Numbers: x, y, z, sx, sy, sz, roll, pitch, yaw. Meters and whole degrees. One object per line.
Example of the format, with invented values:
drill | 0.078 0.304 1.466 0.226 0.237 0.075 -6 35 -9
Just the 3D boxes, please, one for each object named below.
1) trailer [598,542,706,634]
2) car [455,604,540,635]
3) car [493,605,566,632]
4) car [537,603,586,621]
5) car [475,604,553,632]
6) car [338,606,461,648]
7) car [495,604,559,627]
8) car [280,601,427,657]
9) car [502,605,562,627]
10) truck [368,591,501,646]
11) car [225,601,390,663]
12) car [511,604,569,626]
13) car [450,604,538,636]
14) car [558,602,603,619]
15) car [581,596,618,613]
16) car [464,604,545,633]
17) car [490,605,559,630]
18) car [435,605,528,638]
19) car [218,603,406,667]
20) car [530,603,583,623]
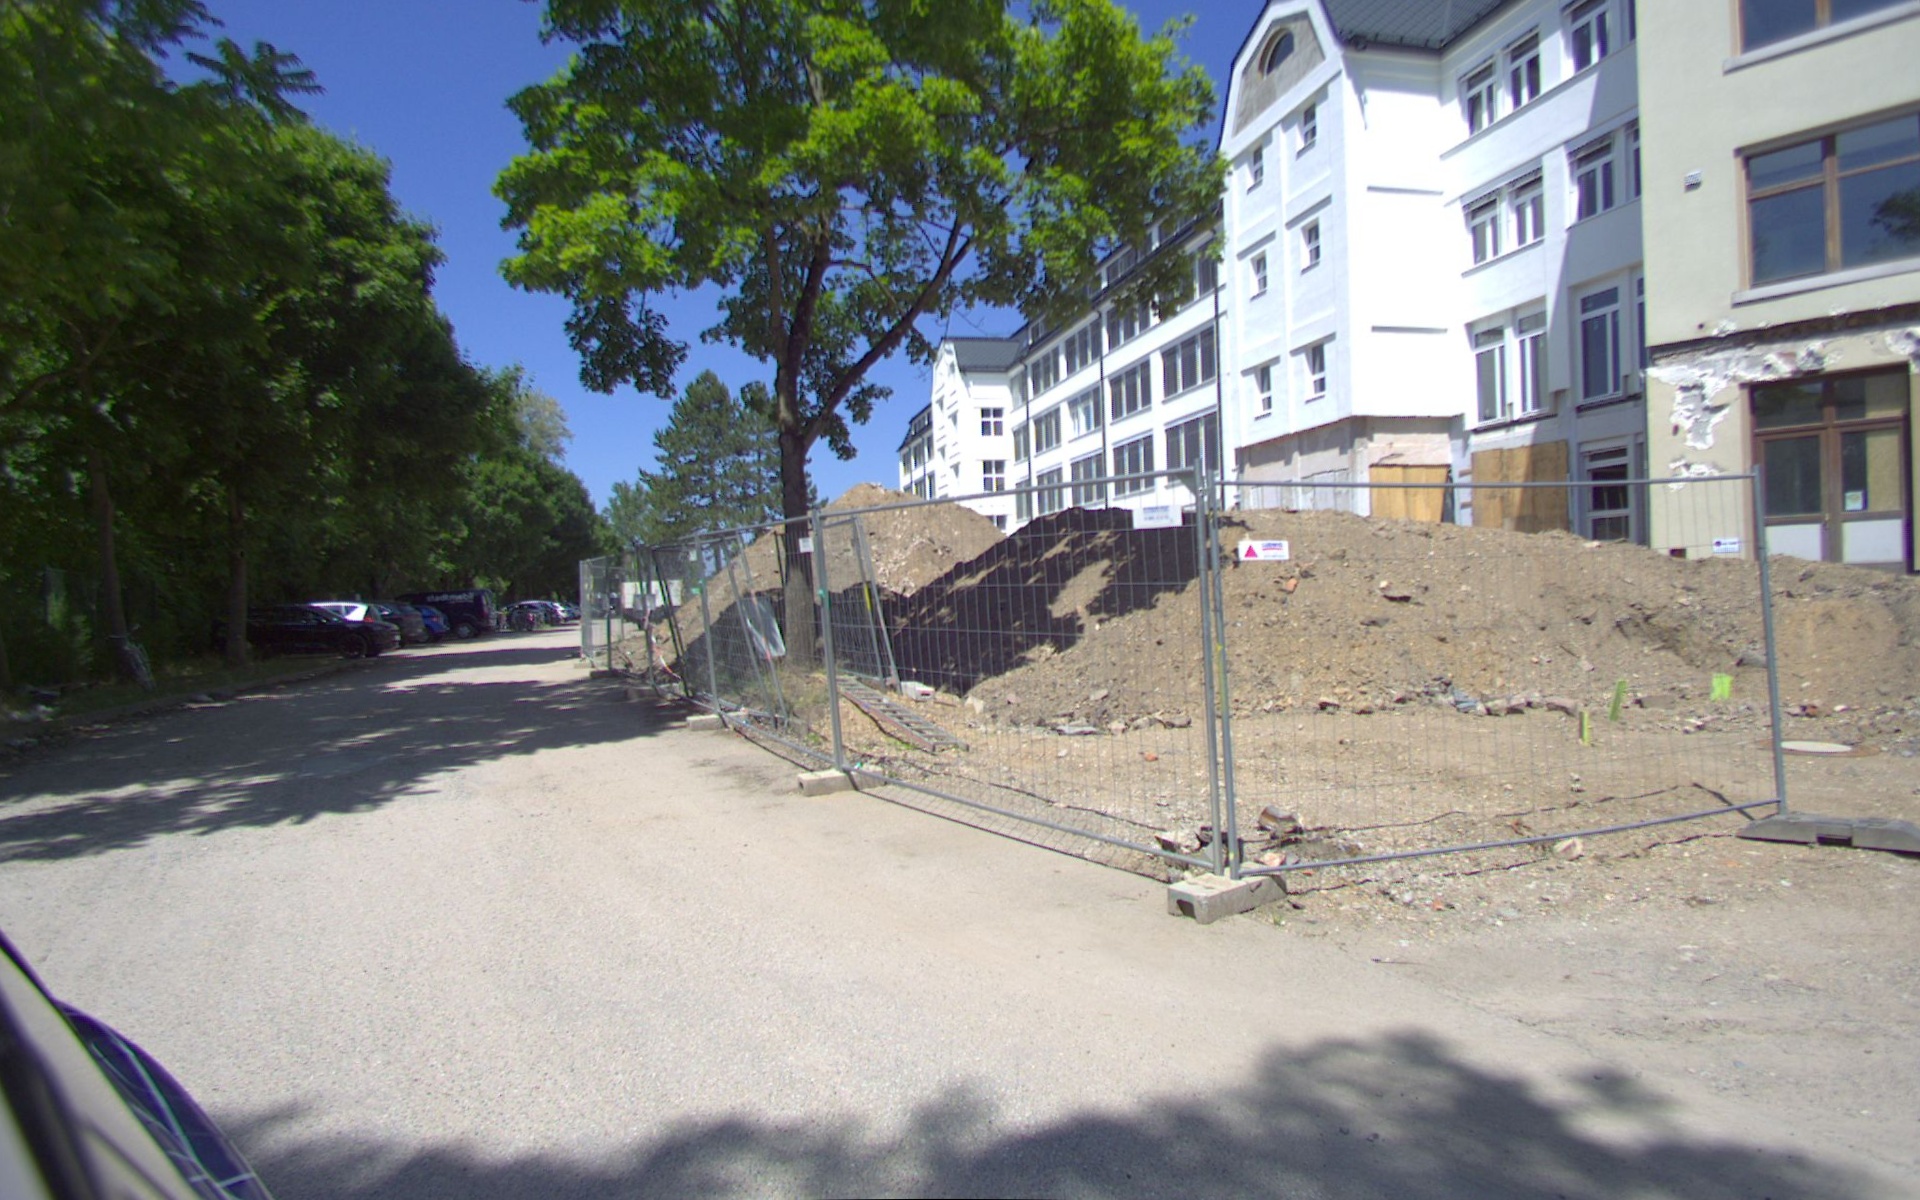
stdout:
trailer | -12.974 -0.503 43.446 2.994 3.447 8.787 -2 1 -8
car | -23.998 1.004 52.635 3.727 1.420 1.746 -2 0 -14
car | -25.524 1.064 60.081 3.727 1.420 1.746 -2 0 -14
car | -34.432 1.030 87.569 3.727 1.420 1.746 -2 0 -14
car | -24.888 0.999 56.562 3.727 1.420 1.746 -2 0 -14
car | -21.036 0.994 38.099 3.726 1.420 1.746 -2 0 -16
car | -29.640 1.078 69.361 3.727 1.420 1.746 -2 0 -14
car | -19.690 0.908 33.016 3.726 1.647 1.853 -2 0 -16
car | -30.488 1.102 72.204 3.727 1.420 1.746 -2 0 -14
truck | -21.114 0.721 40.866 4.384 2.009 2.005 -2 0 -13
car | -19.339 0.899 30.158 3.726 1.647 1.853 -2 0 -16
car | -30.965 1.086 74.704 3.727 1.420 1.746 -2 0 -14
car | -23.242 0.983 50.609 3.727 1.420 1.746 -2 0 -14
car | -35.491 0.976 94.638 3.727 1.420 1.746 -2 0 -14
car | -40.338 0.461 113.292 3.727 1.734 1.746 -2 0 -14
car | -24.506 0.968 54.579 3.727 1.420 1.746 -2 0 -14
car | -27.443 1.072 63.819 3.727 1.420 1.746 -2 0 -14
car | -22.856 0.998 48.423 3.727 1.420 1.746 -2 0 -14
car | -17.373 0.908 27.325 3.933 1.514 1.694 -2 0 -14
car | -32.910 1.052 82.608 3.727 1.420 1.746 -2 0 -14
